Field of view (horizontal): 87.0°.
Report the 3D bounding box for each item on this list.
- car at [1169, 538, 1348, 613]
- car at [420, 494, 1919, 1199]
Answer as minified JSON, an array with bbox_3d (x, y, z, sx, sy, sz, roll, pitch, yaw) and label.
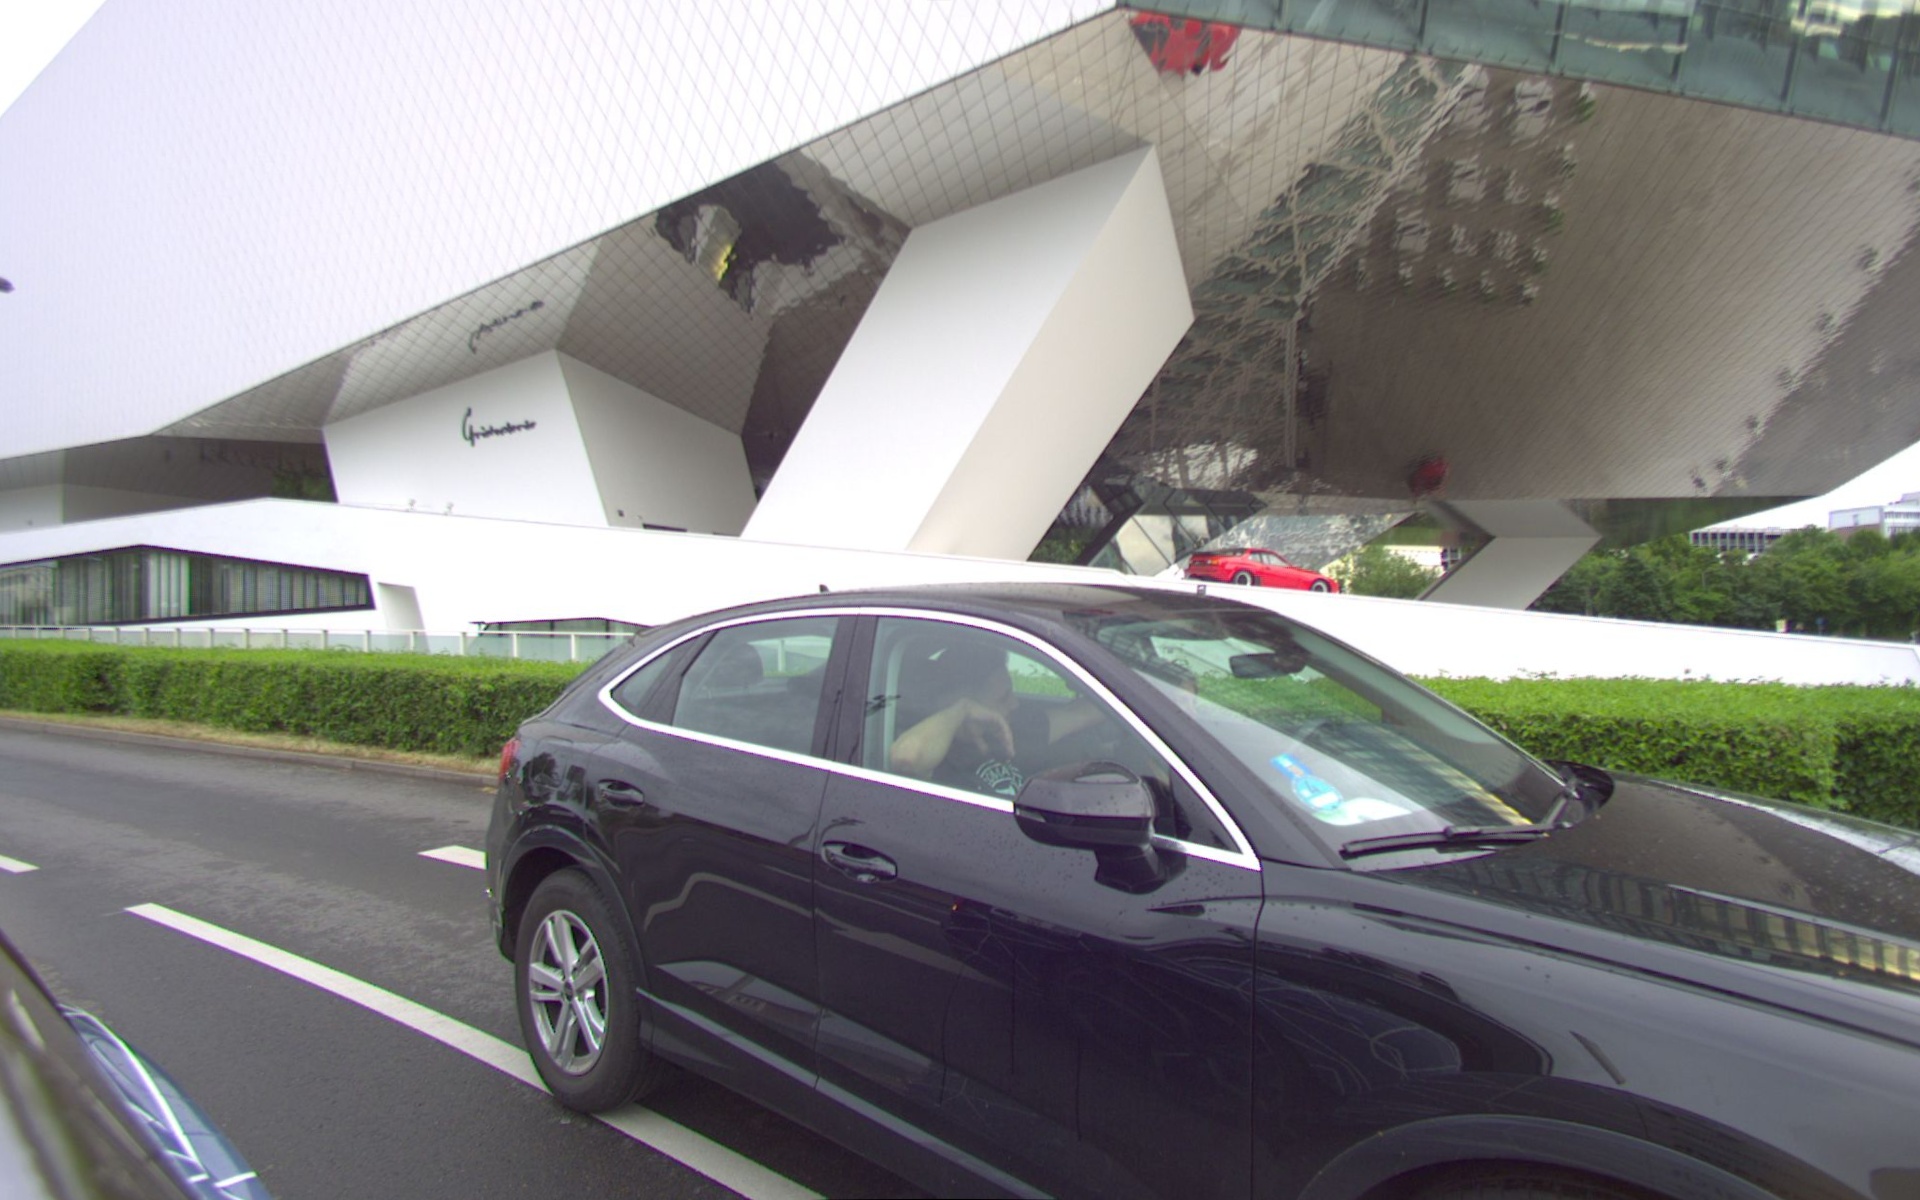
[{"bbox_3d":[8.148,-0.616,27.720,4.175,1.395,2.006,7,-4,-16],"label":"car"},{"bbox_3d":[0.383,0.674,2.675,4.392,1.529,1.734,-1,-1,41],"label":"car"}]
